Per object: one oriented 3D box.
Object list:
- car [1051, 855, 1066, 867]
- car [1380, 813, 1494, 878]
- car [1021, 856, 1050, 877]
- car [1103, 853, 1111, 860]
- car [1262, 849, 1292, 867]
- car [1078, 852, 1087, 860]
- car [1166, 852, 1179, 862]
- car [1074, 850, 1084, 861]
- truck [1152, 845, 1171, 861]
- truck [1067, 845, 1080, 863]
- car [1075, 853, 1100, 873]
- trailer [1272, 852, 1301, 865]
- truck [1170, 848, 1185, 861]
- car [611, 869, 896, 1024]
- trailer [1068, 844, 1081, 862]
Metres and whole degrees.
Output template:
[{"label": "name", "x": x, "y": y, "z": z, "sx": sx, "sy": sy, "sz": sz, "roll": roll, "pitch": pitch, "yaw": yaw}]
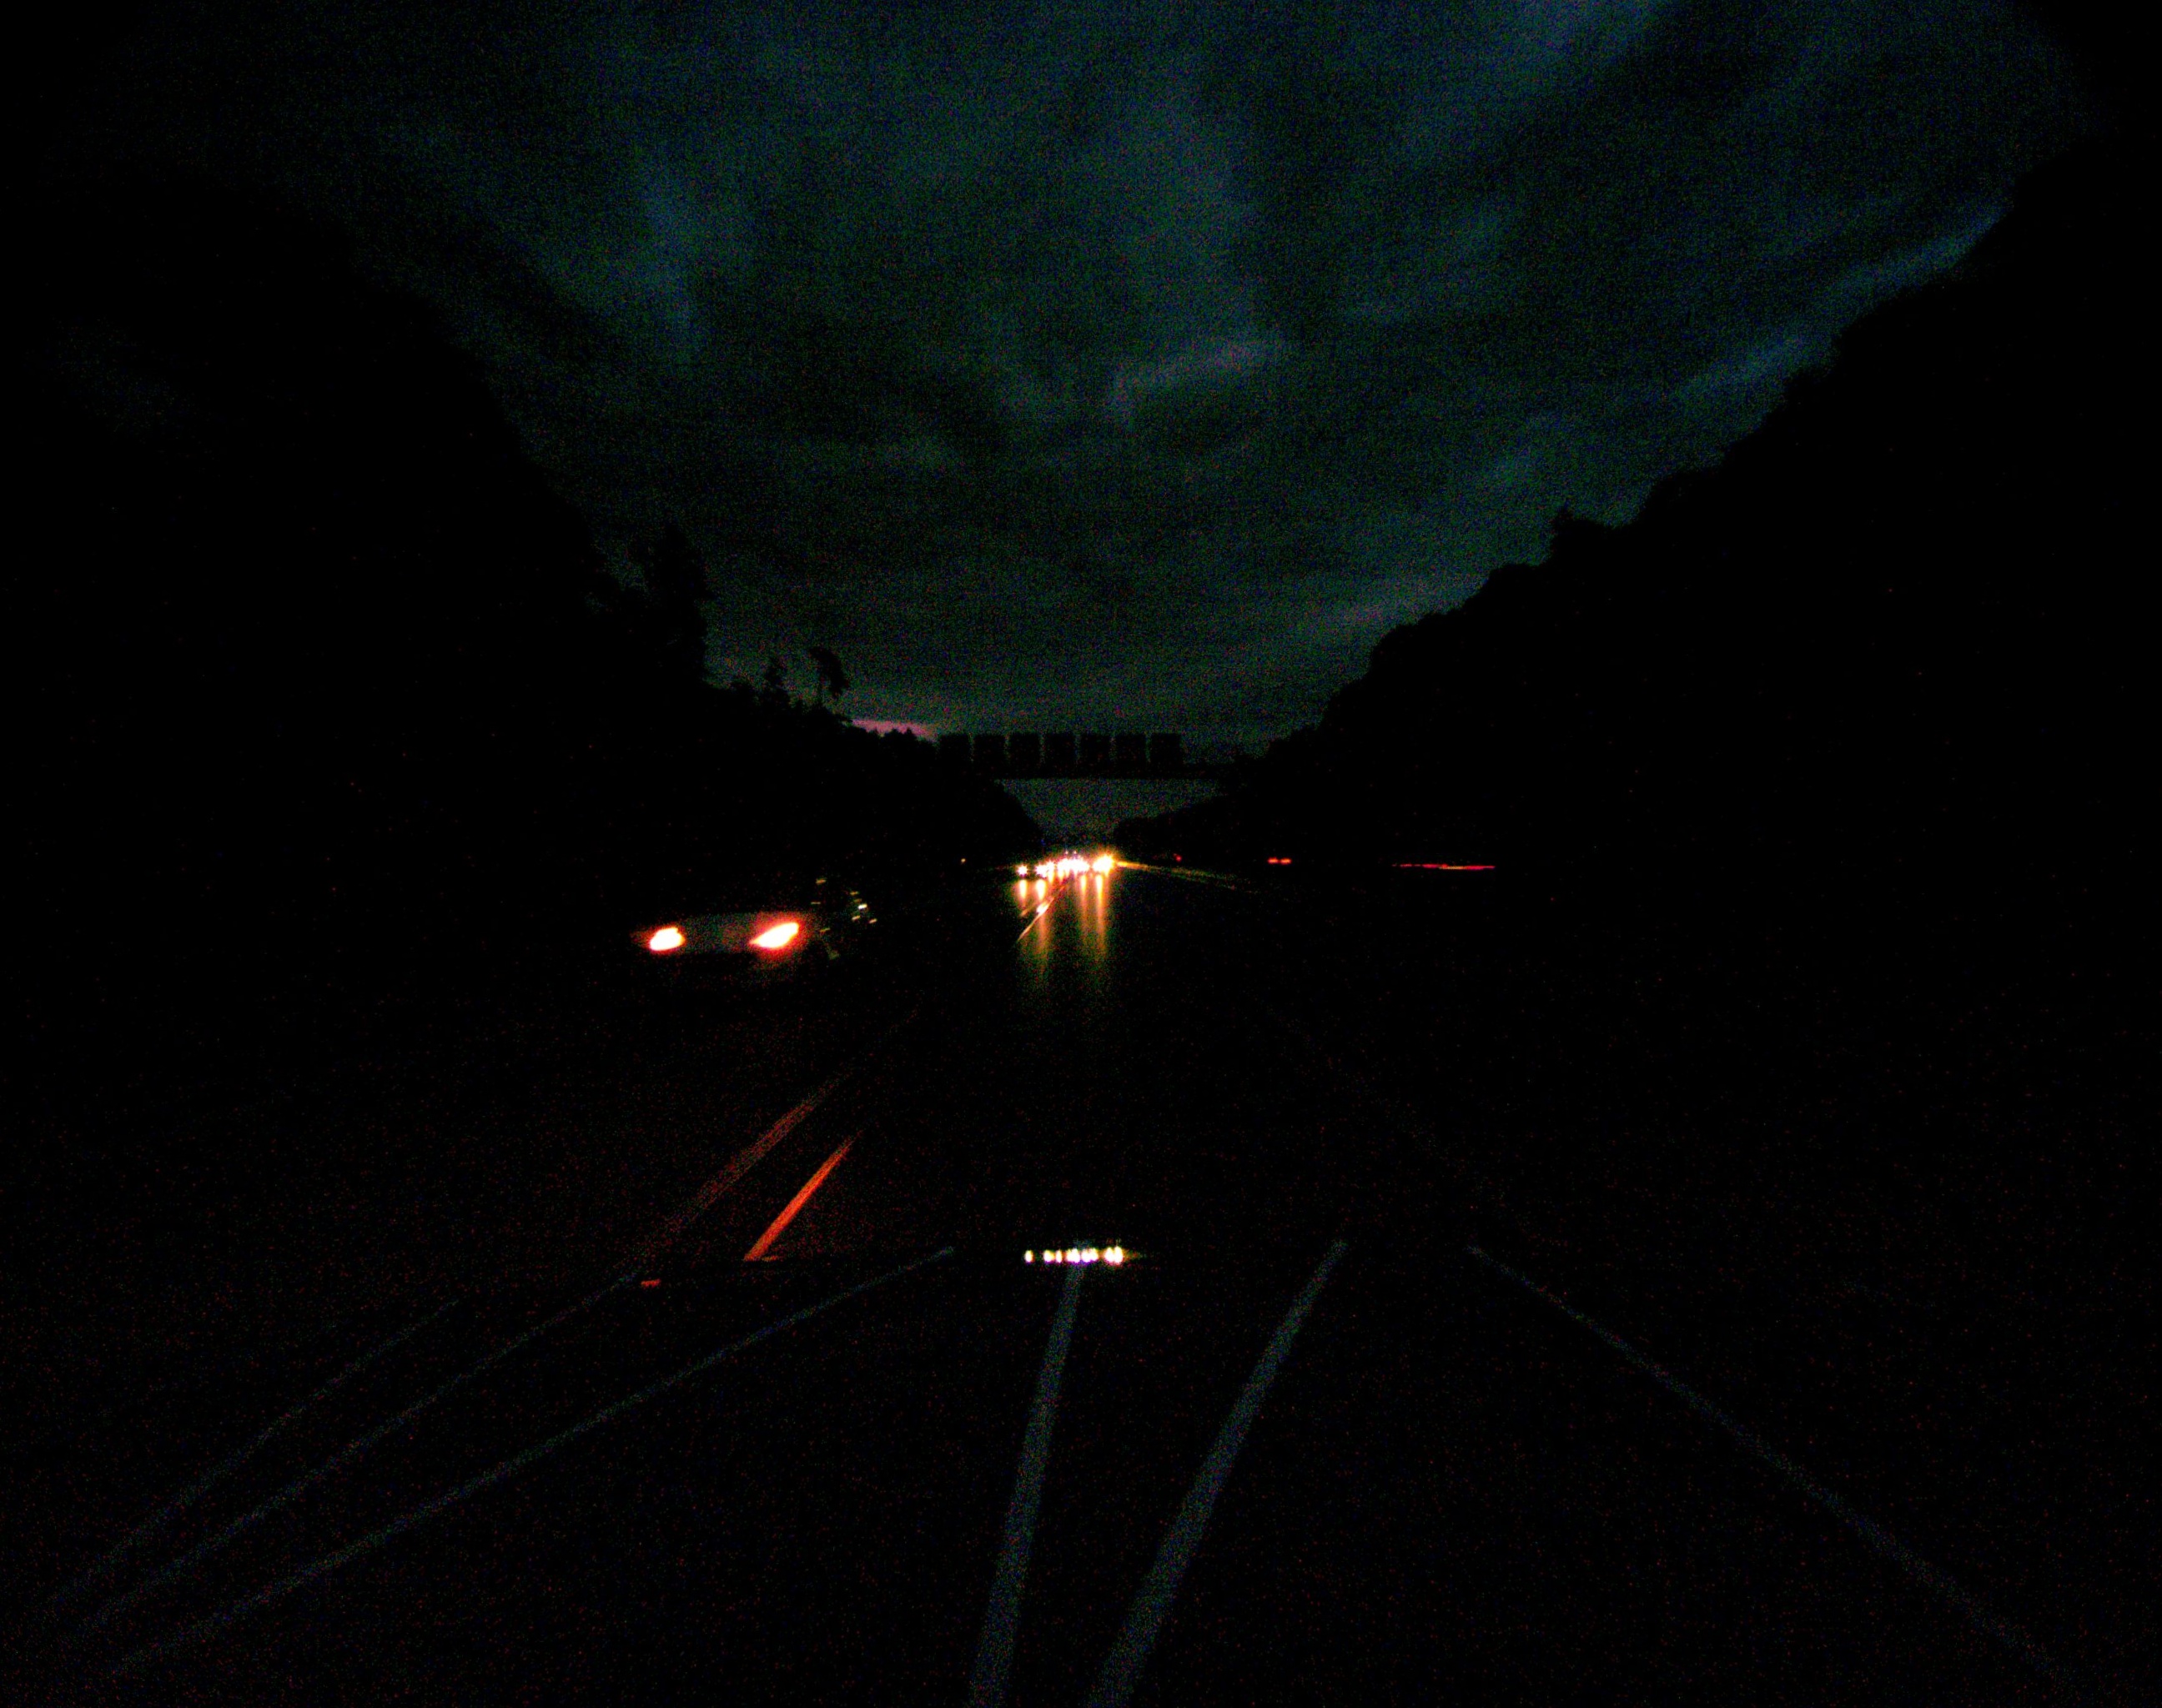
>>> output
[{"label": "car", "x": -2.902, "y": 0.906, "z": 98.472, "sx": 1.695, "sy": 1.481, "sz": 4.949, "roll": -1, "pitch": 0, "yaw": 1}, {"label": "car", "x": 19.693, "y": -0.448, "z": 42.693, "sx": 2.620, "sy": 3.265, "sz": 8.228, "roll": -1, "pitch": 0, "yaw": 1}, {"label": "car", "x": -3.446, "y": 0.915, "z": 58.420, "sx": 1.870, "sy": 1.427, "sz": 4.583, "roll": -3, "pitch": 0, "yaw": 0}, {"label": "car", "x": 5.868, "y": 0.566, "z": 172.169, "sx": 1.695, "sy": 1.481, "sz": 4.949, "roll": -1, "pitch": 0, "yaw": 1}, {"label": "car", "x": 20.099, "y": 0.421, "z": 78.066, "sx": 1.998, "sy": 1.725, "sz": 4.573, "roll": -2, "pitch": 0, "yaw": 1}, {"label": "car", "x": 0.298, "y": 0.357, "z": 139.237, "sx": 1.695, "sy": 1.481, "sz": 4.949, "roll": -1, "pitch": 0, "yaw": 1}, {"label": "car", "x": 16.132, "y": 0.465, "z": 134.597, "sx": 1.740, "sy": 1.704, "sz": 4.714, "roll": -2, "pitch": 0, "yaw": 0}, {"label": "car", "x": -0.679, "y": 0.617, "z": 265.172, "sx": 2.998, "sy": 3.659, "sz": 10.000, "roll": -2, "pitch": 0, "yaw": 1}, {"label": "truck", "x": 21.026, "y": -0.192, "z": 199.503, "sx": 3.365, "sy": 3.979, "sz": 14.497, "roll": -1, "pitch": 0, "yaw": 0}, {"label": "truck", "x": -1.698, "y": -0.087, "z": 173.063, "sx": 2.497, "sy": 3.945, "sz": 5.590, "roll": -2, "pitch": 1, "yaw": 3}, {"label": "car", "x": 0.614, "y": 0.761, "z": 68.711, "sx": 1.869, "sy": 1.700, "sz": 4.585, "roll": -3, "pitch": 0, "yaw": 5}, {"label": "trailer", "x": 20.046, "y": 0.409, "z": 74.219, "sx": 1.998, "sy": 1.241, "sz": 3.122, "roll": -2, "pitch": 0, "yaw": 1}, {"label": "truck", "x": 20.702, "y": 0.130, "z": 163.577, "sx": 2.467, "sy": 2.495, "sz": 9.756, "roll": -2, "pitch": 0, "yaw": 2}, {"label": "car", "x": -3.938, "y": 1.007, "z": 10.101, "sx": 1.830, "sy": 1.467, "sz": 4.398, "roll": -1, "pitch": 0, "yaw": 0}, {"label": "trailer", "x": -1.465, "y": -0.260, "z": 180.252, "sx": 2.488, "sy": 4.050, "sz": 13.504, "roll": -2, "pitch": 1, "yaw": 2}]
